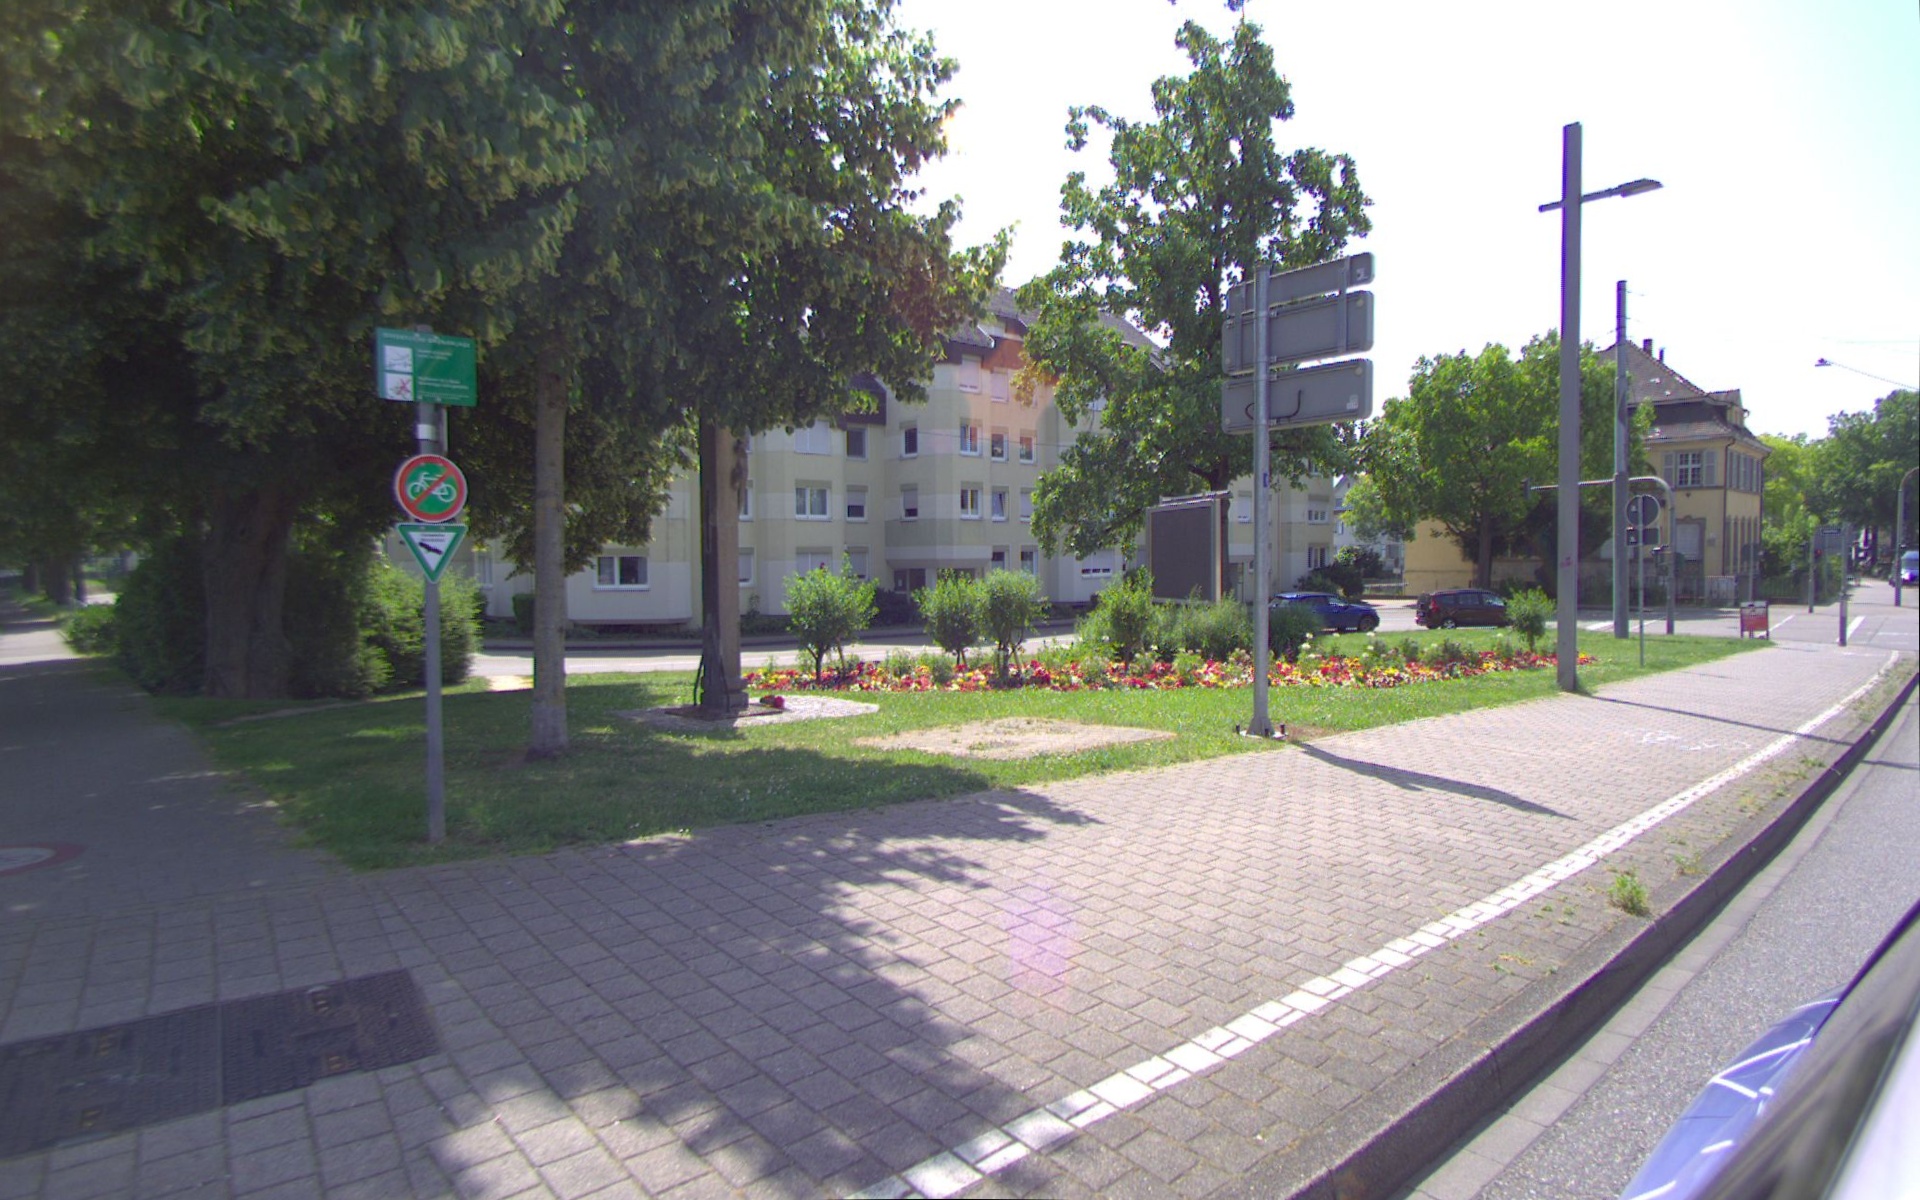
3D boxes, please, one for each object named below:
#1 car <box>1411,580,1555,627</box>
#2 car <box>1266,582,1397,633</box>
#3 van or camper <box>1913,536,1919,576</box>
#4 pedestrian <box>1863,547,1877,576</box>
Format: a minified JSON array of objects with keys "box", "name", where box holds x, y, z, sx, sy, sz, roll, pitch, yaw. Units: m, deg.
[{"box":[20.934,0.125,40.639,4.731,1.652,1.917,-2,3,4],"name":"car"},{"box":[14.975,0.277,40.836,4.669,1.721,2.005,-2,3,-15],"name":"car"},{"box":[66.494,-3.050,68.961,2.159,2.613,5.756,1,4,44],"name":"van or camper"},{"box":[62.890,-2.676,69.941,0.619,1.941,0.732,2,4,44],"name":"pedestrian"}]
